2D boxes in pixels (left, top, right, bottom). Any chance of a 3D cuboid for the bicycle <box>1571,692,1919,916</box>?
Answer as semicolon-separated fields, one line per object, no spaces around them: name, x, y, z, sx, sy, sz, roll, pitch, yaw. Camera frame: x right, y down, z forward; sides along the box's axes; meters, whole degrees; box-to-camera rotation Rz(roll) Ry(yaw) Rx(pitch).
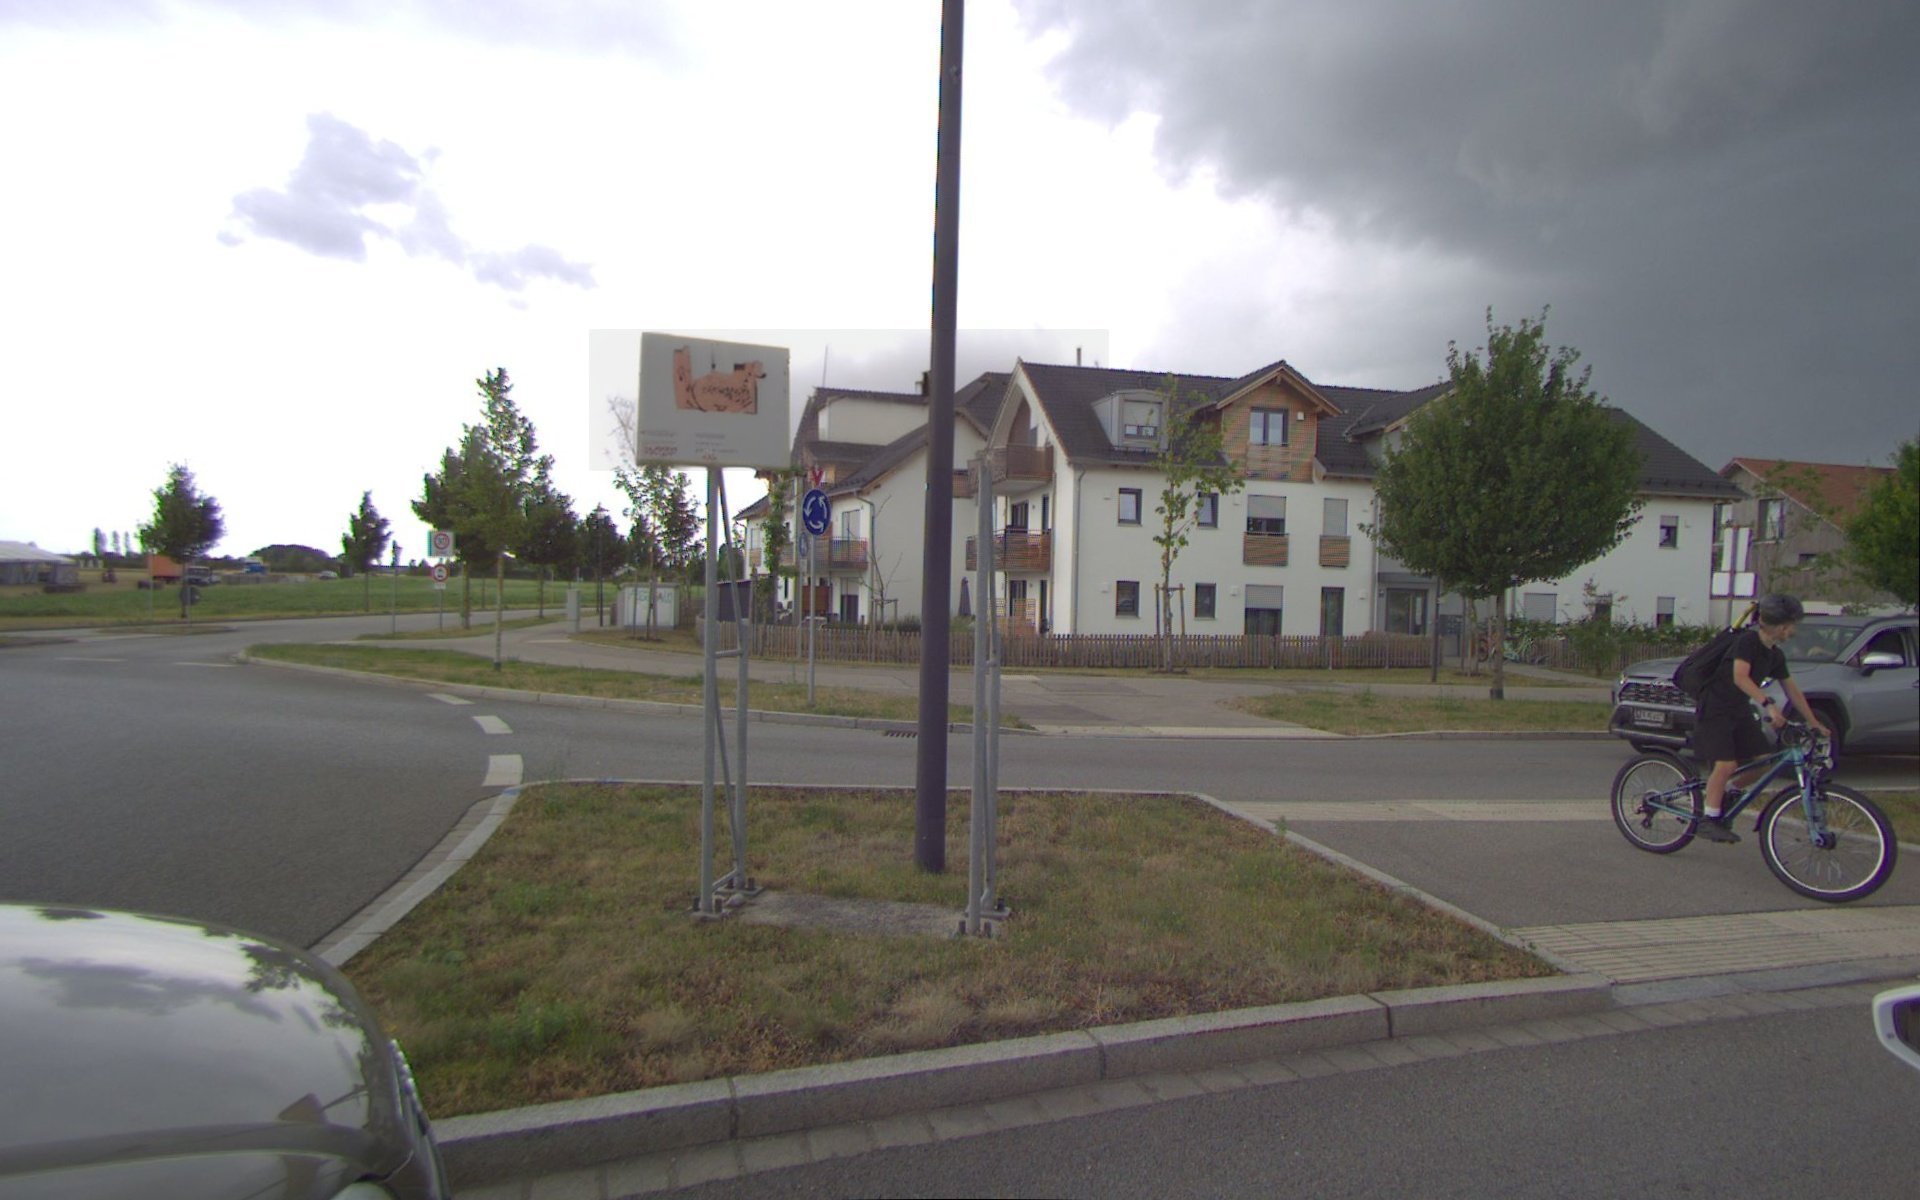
bicycle;4.495;1.079;5.812;0.490;0.959;1.706;1;-1;-20

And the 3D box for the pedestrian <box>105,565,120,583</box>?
pedestrian;-97.753;-2.948;115.858;1.037;2.041;1.054;1;1;-25

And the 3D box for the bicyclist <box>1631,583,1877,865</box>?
bicyclist;4.535;0.656;5.775;0.714;1.466;0.864;1;0;-23

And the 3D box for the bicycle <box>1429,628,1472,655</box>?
bicycle;16.624;1.396;34.027;1.314;0.854;0.367;2;3;-12

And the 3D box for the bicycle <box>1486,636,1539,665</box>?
bicycle;17.213;1.572;31.278;1.520;0.854;0.367;2;3;-12

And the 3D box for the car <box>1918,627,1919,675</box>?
car;35.755;1.891;33.992;1.964;1.702;4.536;2;1;-10

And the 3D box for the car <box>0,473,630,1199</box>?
car;-2.661;0.593;0.362;4.501;1.485;1.763;1;1;-39

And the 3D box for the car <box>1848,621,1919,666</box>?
car;41.112;1.900;43.193;4.384;1.795;1.997;2;1;-9

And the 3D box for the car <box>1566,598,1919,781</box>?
car;9.340;0.910;10.993;4.556;1.726;1.995;2;-1;-14
